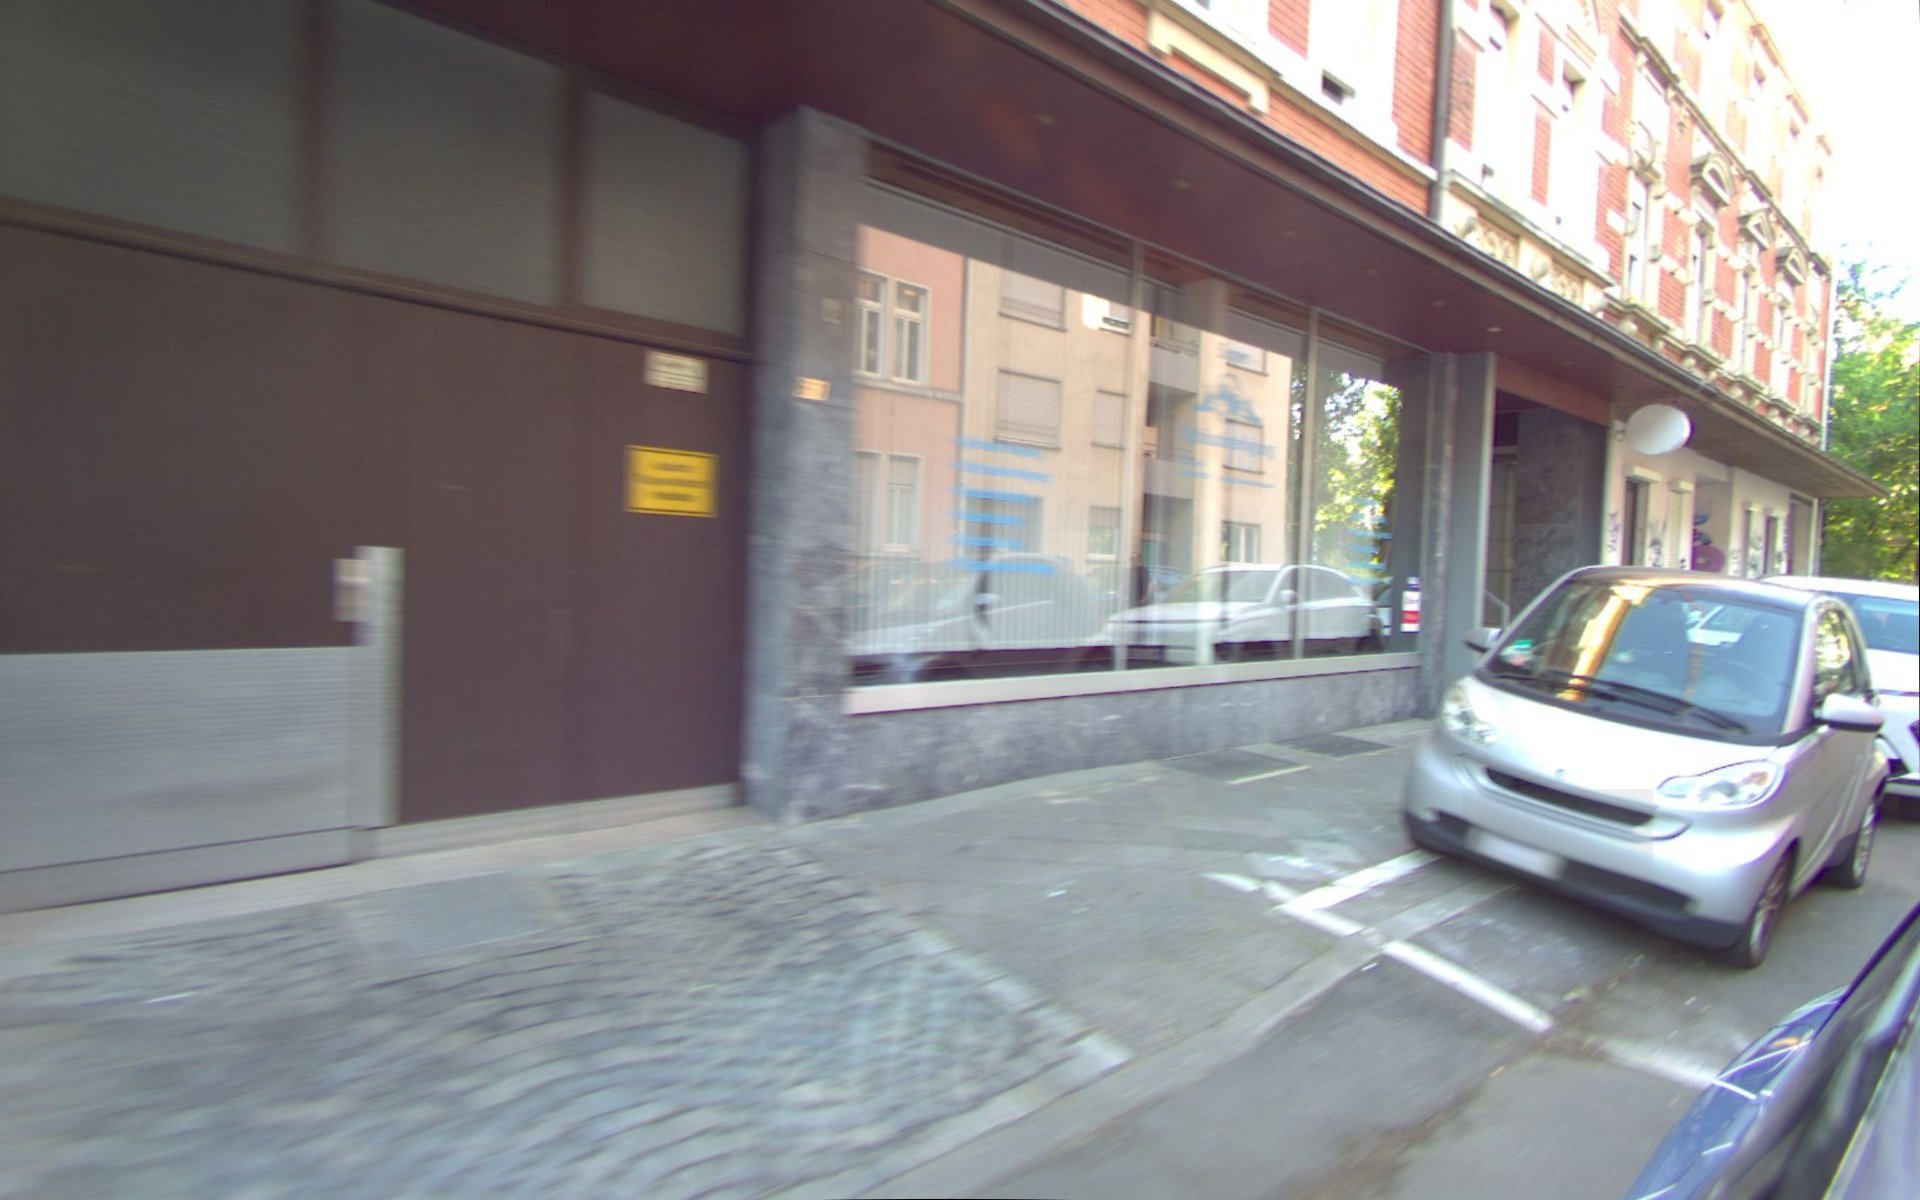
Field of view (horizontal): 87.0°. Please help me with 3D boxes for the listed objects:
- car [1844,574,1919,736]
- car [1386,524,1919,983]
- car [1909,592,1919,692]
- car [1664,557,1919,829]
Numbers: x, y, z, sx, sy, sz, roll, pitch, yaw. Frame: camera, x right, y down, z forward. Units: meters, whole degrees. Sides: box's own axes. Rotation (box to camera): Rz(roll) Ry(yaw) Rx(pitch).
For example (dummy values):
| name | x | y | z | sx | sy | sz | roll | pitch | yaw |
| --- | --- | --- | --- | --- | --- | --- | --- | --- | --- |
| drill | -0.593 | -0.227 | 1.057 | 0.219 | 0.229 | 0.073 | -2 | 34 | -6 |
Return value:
| name | x | y | z | sx | sy | sz | roll | pitch | yaw |
| --- | --- | --- | --- | --- | --- | --- | --- | --- | --- |
| car | 11.362 | 0.568 | 11.404 | 3.708 | 1.656 | 1.602 | 0 | 1 | -41 |
| car | 3.916 | 0.534 | 5.374 | 3.402 | 1.551 | 1.527 | 0 | 9 | -41 |
| car | 16.110 | 0.635 | 15.655 | 4.093 | 1.468 | 1.646 | 0 | 2 | -41 |
| car | 7.110 | 0.562 | 7.992 | 3.989 | 1.682 | 1.602 | 0 | 1 | -41 |
